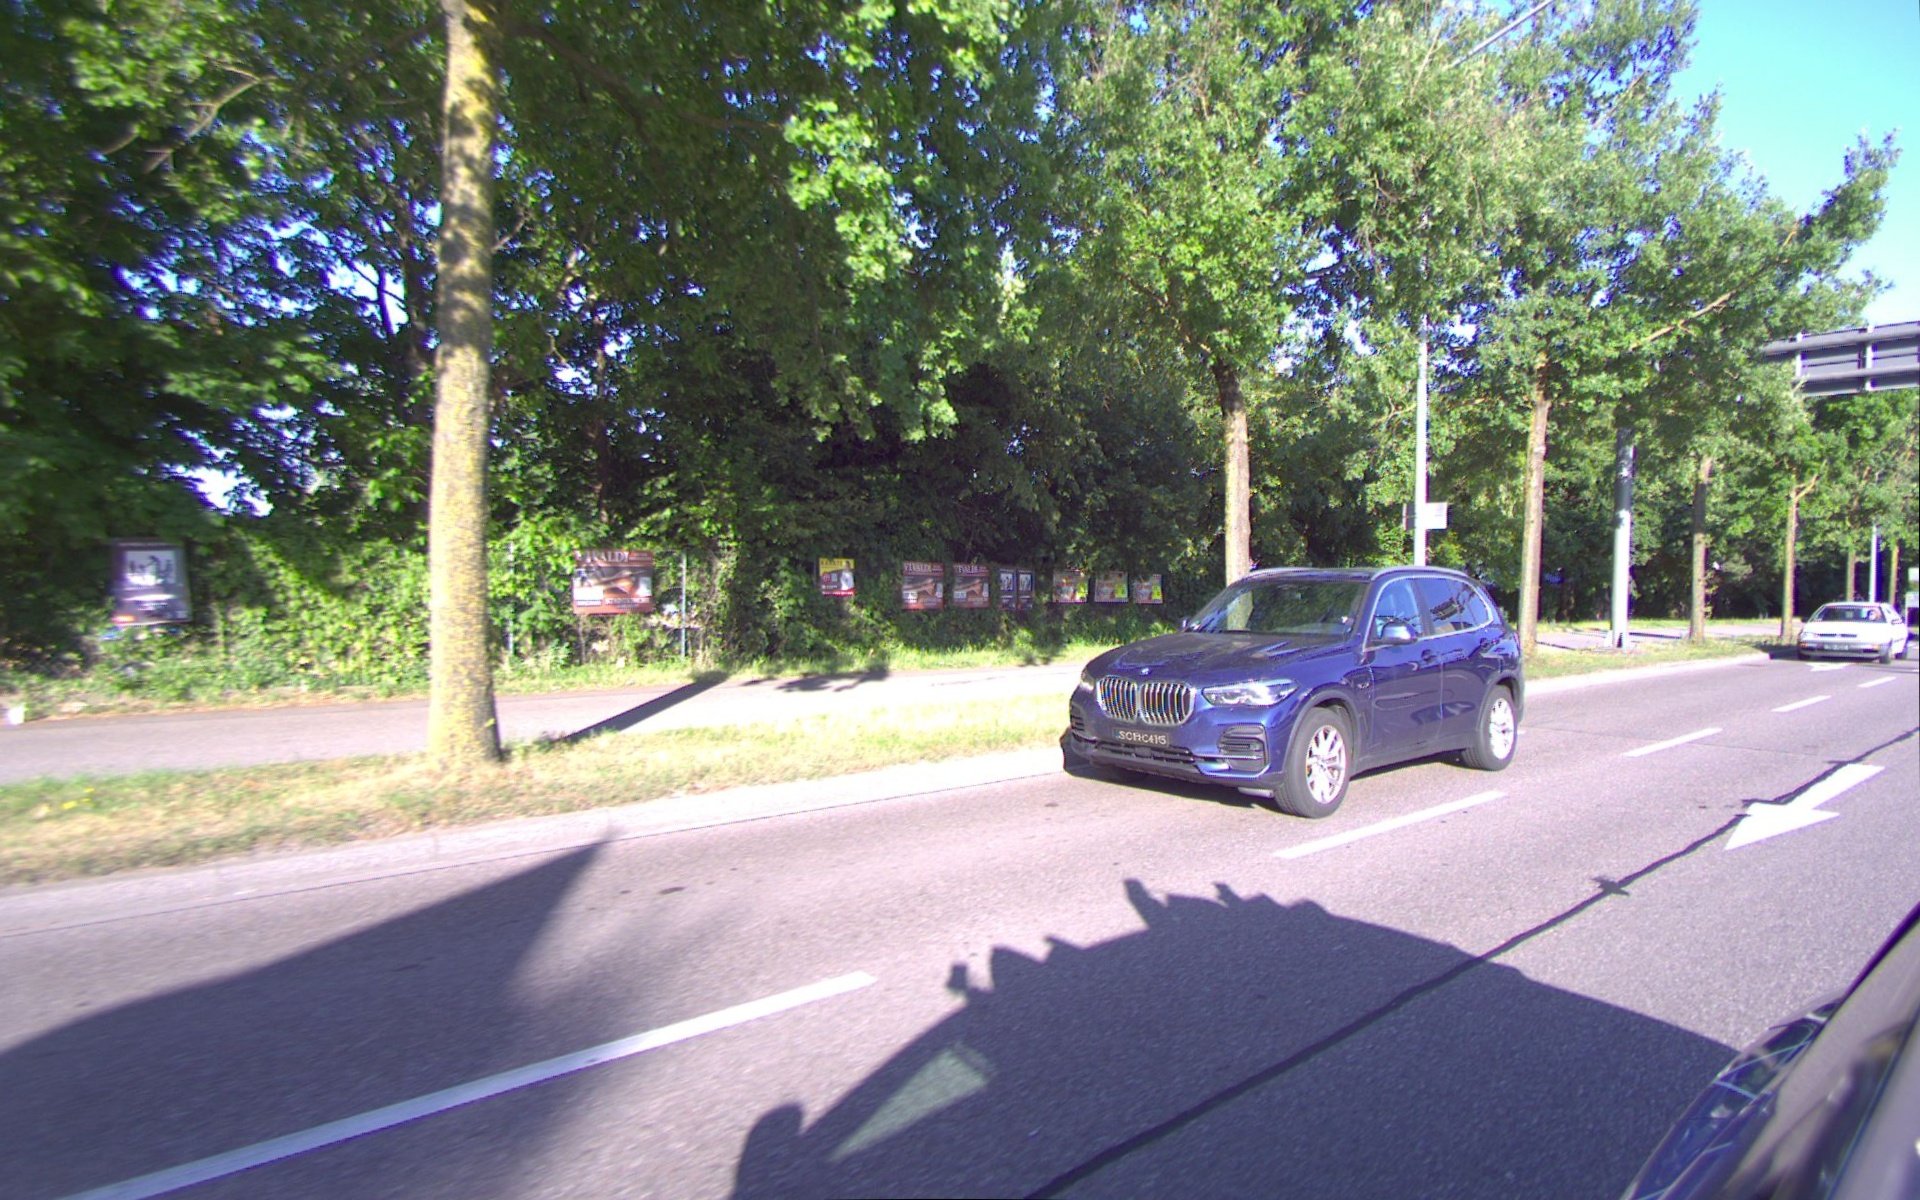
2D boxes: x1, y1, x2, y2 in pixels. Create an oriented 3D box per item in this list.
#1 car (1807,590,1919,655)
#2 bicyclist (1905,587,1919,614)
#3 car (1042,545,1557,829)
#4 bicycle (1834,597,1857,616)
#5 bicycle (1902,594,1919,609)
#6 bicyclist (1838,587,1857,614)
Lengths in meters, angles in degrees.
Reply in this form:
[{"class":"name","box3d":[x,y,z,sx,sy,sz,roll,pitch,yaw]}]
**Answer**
[{"class":"car","box3d":[21.964,0.549,24.450,3.966,1.416,1.614,2,0,-40]},{"class":"bicyclist","box3d":[62.812,0.023,66.678,0.832,1.755,0.605,1,1,-37]},{"class":"car","box3d":[3.020,0.512,8.463,4.615,1.748,1.959,0,1,-40]},{"class":"bicycle","box3d":[49.148,0.358,56.146,1.788,0.986,0.618,0,2,-38]},{"class":"bicycle","box3d":[62.442,0.105,66.380,2.020,0.986,0.618,1,1,-38]},{"class":"bicyclist","box3d":[49.340,0.023,56.283,0.832,1.520,0.615,1,1,-37]}]
